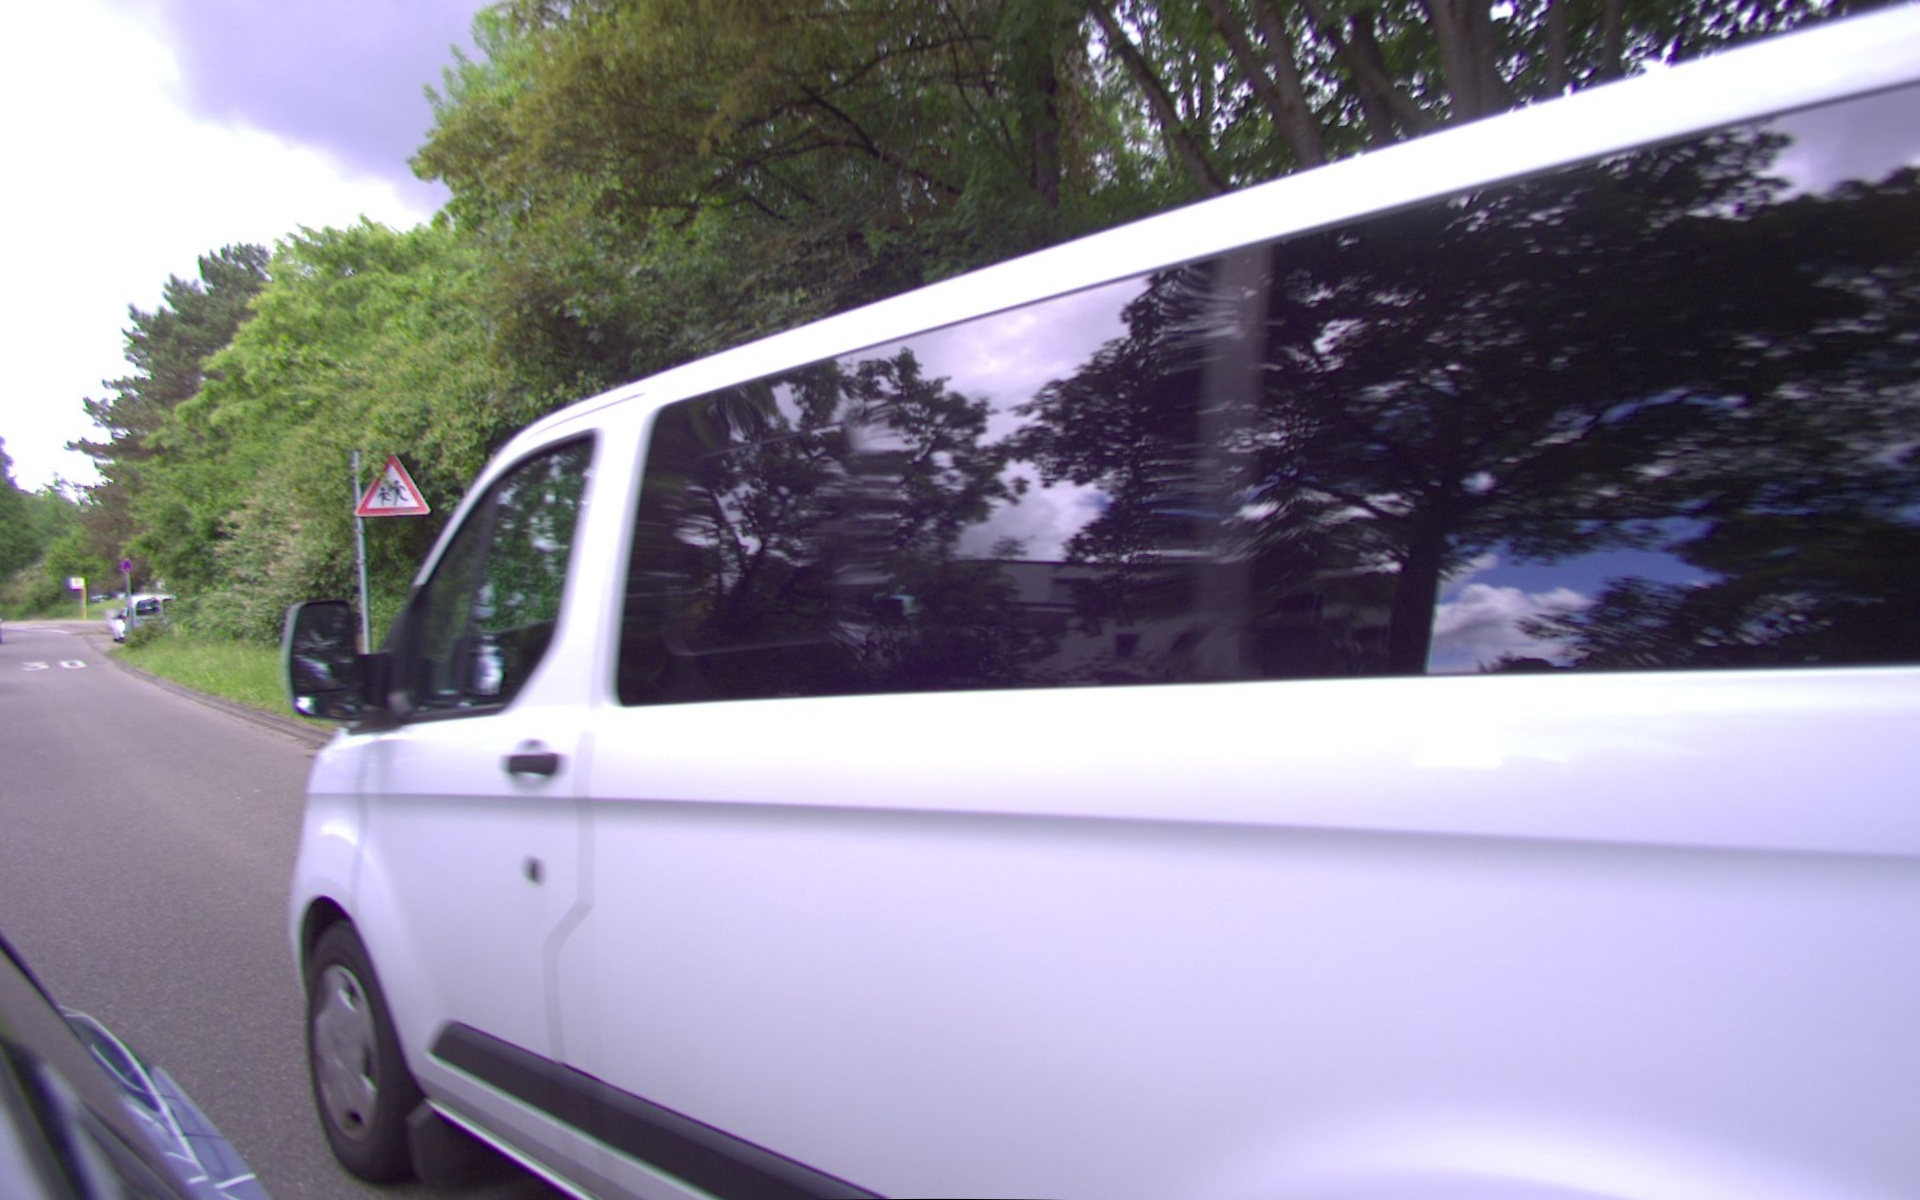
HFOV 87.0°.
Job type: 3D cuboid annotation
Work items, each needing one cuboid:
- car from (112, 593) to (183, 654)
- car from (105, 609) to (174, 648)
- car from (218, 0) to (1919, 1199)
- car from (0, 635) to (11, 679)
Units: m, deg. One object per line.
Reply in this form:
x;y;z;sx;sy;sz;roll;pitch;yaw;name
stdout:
-28.956;0.832;36.035;1.700;1.935;4.110;-4;1;-41;car
-33.306;1.126;41.029;1.785;1.413;4.375;-4;2;-44;car
0.220;0.418;2.264;4.497;1.999;1.928;-2;0;39;car
-43.168;2.558;44.481;1.971;1.706;4.003;-5;4;-44;car
